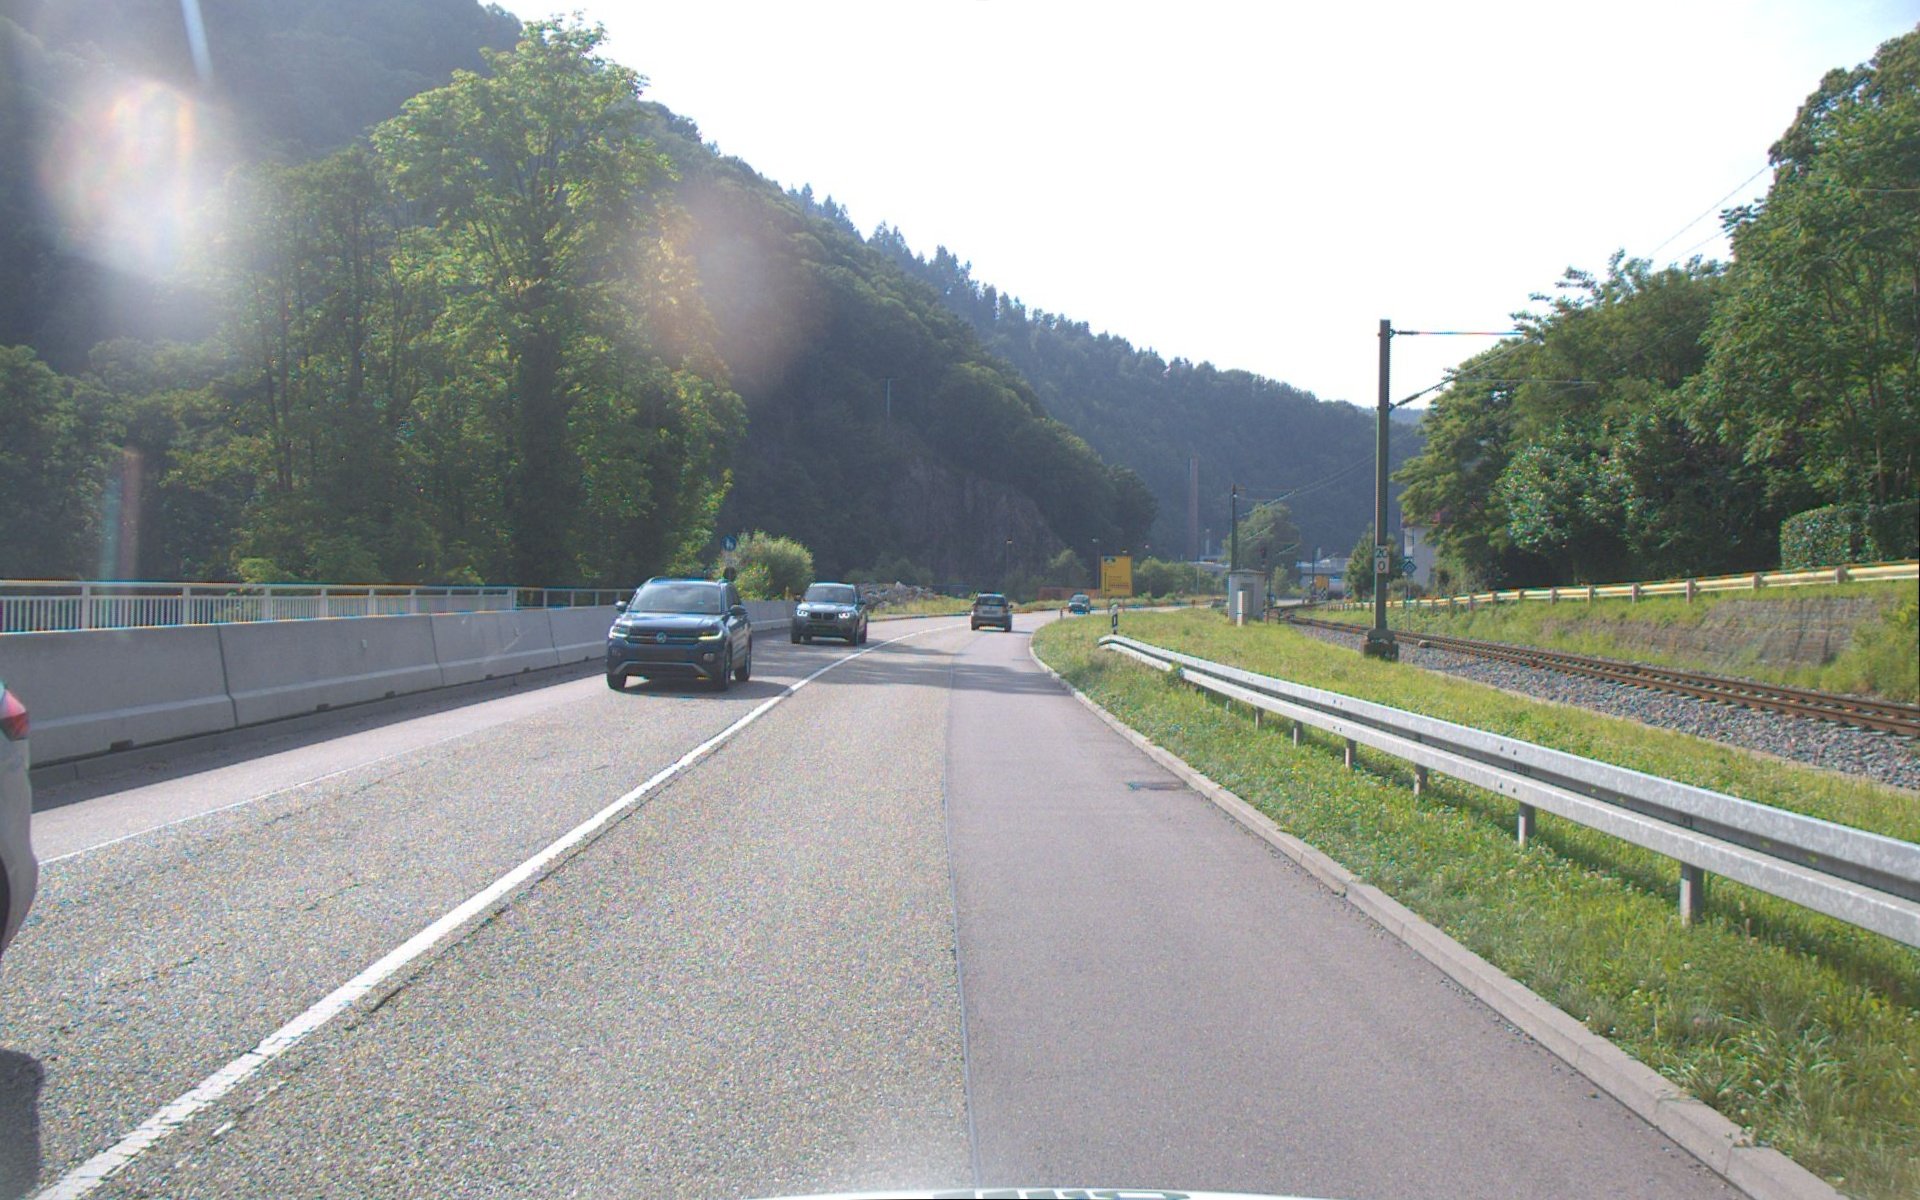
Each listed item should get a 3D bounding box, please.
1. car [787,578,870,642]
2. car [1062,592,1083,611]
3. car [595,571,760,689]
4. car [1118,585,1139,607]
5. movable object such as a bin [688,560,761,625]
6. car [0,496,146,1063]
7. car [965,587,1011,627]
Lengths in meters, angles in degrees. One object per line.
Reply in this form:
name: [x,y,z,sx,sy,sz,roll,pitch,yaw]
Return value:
car: [-3.663,0.253,46.694,1.953,1.657,4.507,2,0,0]
car: [11.197,0.149,164.839,1.812,1.816,4.687,2,0,6]
car: [-4.155,0.397,24.952,1.762,1.583,4.331,1,0,-1]
car: [16.413,-0.426,160.822,1.951,2.049,4.003,-1,0,7]
movable object such as a bin: [-15.417,-0.465,108.991,2.642,4.016,9.995,-1,0,4]
car: [-3.740,0.554,3.523,1.737,1.699,4.647,0,0,0]
car: [1.316,0.327,75.798,1.952,1.754,3.992,-1,0,3]
